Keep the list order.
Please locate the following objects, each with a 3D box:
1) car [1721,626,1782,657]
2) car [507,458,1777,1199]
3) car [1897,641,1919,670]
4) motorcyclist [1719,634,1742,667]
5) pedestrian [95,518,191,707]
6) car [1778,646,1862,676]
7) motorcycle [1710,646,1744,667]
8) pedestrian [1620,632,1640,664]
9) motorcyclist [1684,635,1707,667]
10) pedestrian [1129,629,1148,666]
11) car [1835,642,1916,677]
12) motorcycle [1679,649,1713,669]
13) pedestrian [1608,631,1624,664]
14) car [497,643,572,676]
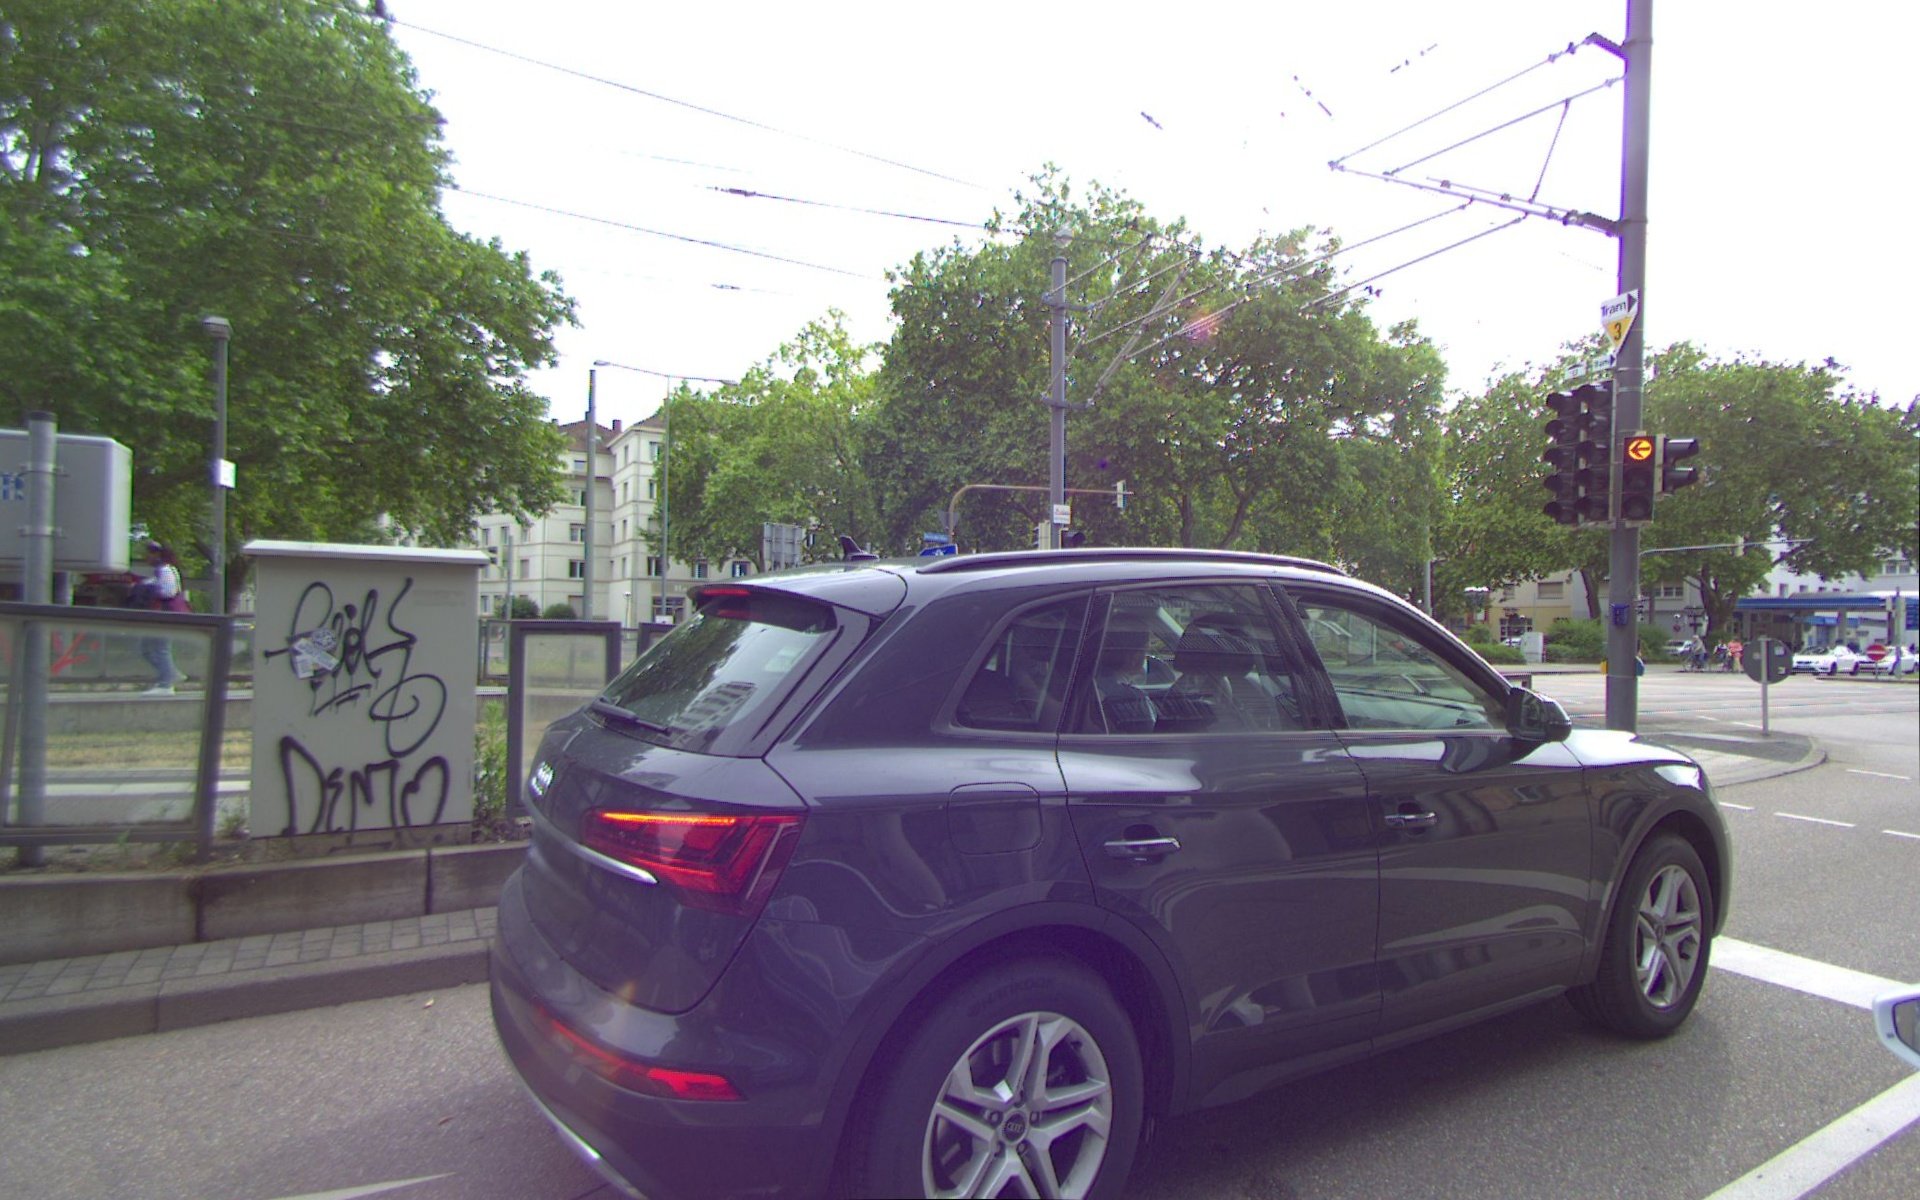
[{"bbox_3d":[54.606,2.885,69.284,3.953,2.040,1.984,2,-1,-30],"label":"car"},{"bbox_3d":[0.823,0.647,3.460,4.177,1.658,1.725,2,0,-30],"label":"car"},{"bbox_3d":[52.780,3.043,54.602,3.593,1.497,1.649,2,0,-29],"label":"car"},{"bbox_3d":[37.283,2.432,48.597,0.863,1.540,0.617,2,-1,-30],"label":"motorcyclist"},{"bbox_3d":[-8.916,0.132,10.990,0.658,1.976,0.732,2,0,-30],"label":"pedestrian"},{"bbox_3d":[41.385,2.917,48.340,4.025,1.338,1.739,2,0,-29],"label":"car"},{"bbox_3d":[36.963,2.716,48.416,1.928,0.941,0.604,2,-1,-30],"label":"motorcycle"},{"bbox_3d":[36.180,2.582,54.237,0.860,1.735,0.872,0,-1,32],"label":"pedestrian"},{"bbox_3d":[35.870,2.488,48.995,0.863,1.540,0.617,2,-1,-30],"label":"motorcyclist"},{"bbox_3d":[7.436,1.969,41.839,0.644,1.530,0.683,1,-1,-3],"label":"pedestrian"},{"bbox_3d":[46.977,3.031,51.521,3.953,1.615,1.984,2,0,-30],"label":"car"},{"bbox_3d":[35.936,2.869,49.051,1.928,0.941,0.604,2,-1,-30],"label":"motorcycle"},{"bbox_3d":[35.615,2.568,54.513,0.679,1.735,0.868,0,-1,31],"label":"pedestrian"},{"bbox_3d":[-24.237,3.360,57.209,3.929,1.706,1.996,0,-1,31],"label":"car"}]
